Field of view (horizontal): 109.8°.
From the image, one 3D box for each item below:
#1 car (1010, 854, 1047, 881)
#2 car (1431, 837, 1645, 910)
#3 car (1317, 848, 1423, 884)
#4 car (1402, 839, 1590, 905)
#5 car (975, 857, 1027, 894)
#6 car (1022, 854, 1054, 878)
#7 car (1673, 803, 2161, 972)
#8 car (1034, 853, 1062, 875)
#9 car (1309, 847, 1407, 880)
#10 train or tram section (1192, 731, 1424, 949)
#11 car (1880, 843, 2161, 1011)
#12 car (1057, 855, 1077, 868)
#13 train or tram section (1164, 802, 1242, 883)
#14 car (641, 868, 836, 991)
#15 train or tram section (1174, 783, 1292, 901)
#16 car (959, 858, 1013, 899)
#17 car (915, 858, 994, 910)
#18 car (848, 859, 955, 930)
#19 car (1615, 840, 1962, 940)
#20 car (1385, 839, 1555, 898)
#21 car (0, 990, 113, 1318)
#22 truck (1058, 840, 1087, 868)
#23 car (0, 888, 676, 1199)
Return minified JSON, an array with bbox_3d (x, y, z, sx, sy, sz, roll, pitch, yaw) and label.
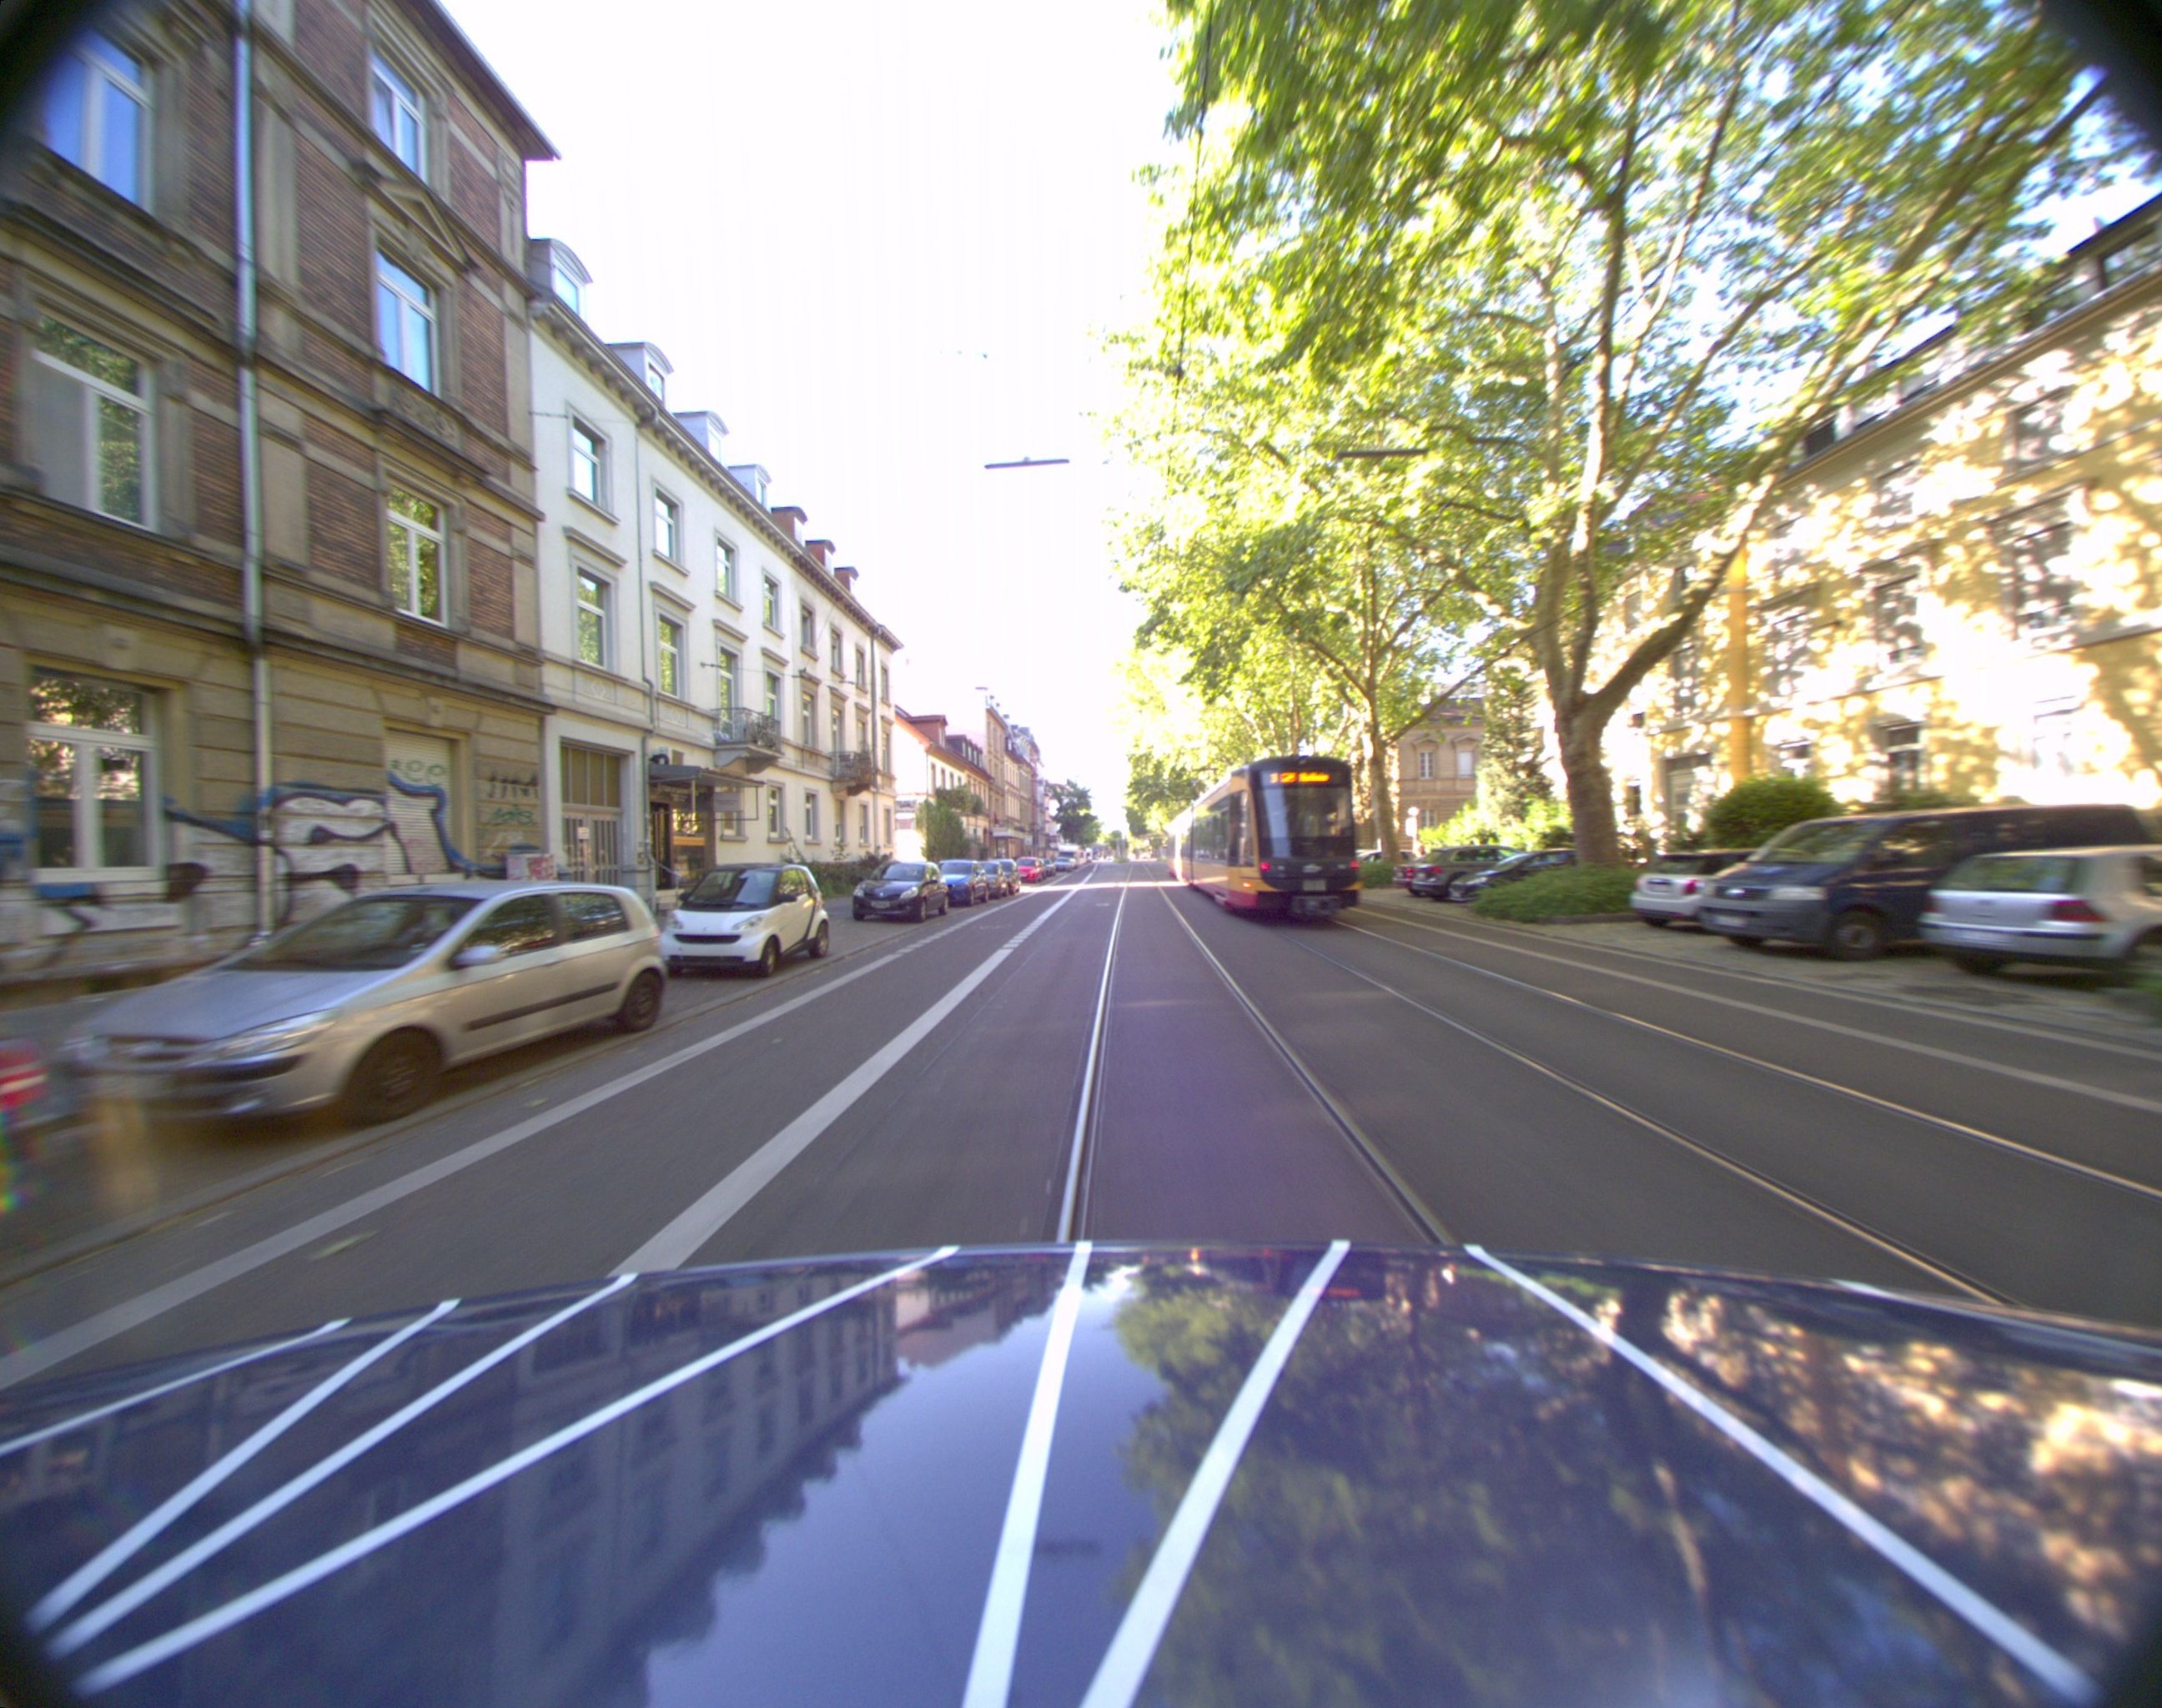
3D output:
[{"bbox_3d":[-3.151,0.804,46.286,1.702,1.559,3.687,0,1,4],"label":"car"},{"bbox_3d":[11.931,0.504,20.101,4.365,1.603,2.001,-3,0,3],"label":"car"},{"bbox_3d":[12.535,0.495,33.070,3.997,1.422,1.528,-2,1,0],"label":"car"},{"bbox_3d":[12.092,0.514,22.390,4.365,1.603,2.001,-3,0,3],"label":"car"},{"bbox_3d":[-3.589,0.932,34.711,1.729,1.559,3.687,0,1,4],"label":"car"},{"bbox_3d":[-2.910,0.770,51.619,1.702,1.559,3.687,0,1,4],"label":"car"},{"bbox_3d":[11.380,0.436,10.588,4.638,1.896,1.922,-3,0,2],"label":"car"},{"bbox_3d":[-2.507,0.738,57.892,1.702,1.559,3.687,0,1,4],"label":"car"},{"bbox_3d":[12.914,0.431,35.539,3.997,1.422,1.601,-2,1,0],"label":"car"},{"bbox_3d":[4.721,-0.310,18.648,2.943,3.598,11.064,-3,1,4],"label":"train or tram section"},{"bbox_3d":[11.491,0.646,7.971,4.067,1.437,1.870,-3,0,3],"label":"car"},{"bbox_3d":[-1.397,0.729,76.294,1.702,1.324,3.687,0,0,4],"label":"car"},{"bbox_3d":[6.359,-0.633,41.613,2.943,3.598,12.412,-3,1,4],"label":"train or tram section"},{"bbox_3d":[-4.948,1.010,11.365,1.514,1.534,2.821,0,1,3],"label":"car"},{"bbox_3d":[5.519,-0.468,29.799,2.943,3.598,11.260,-3,1,4],"label":"train or tram section"},{"bbox_3d":[-3.781,0.952,30.775,1.542,1.497,3.359,0,1,4],"label":"car"},{"bbox_3d":[-4.220,0.962,25.879,1.729,1.497,3.908,3,1,4],"label":"car"},{"bbox_3d":[-4.485,0.958,19.559,1.634,1.497,3.907,3,1,2],"label":"car"},{"bbox_3d":[12.212,0.605,13.342,4.365,1.399,1.658,-3,0,3],"label":"car"},{"bbox_3d":[12.416,0.464,24.500,4.365,1.603,2.001,-3,0,3],"label":"car"},{"bbox_3d":[-5.288,1.264,1.599,1.653,1.265,3.725,0,1,2],"label":"car"},{"bbox_3d":[-0.955,-0.041,90.840,2.842,3.145,7.293,-3,1,2],"label":"truck"},{"bbox_3d":[-5.101,1.103,5.980,1.609,1.444,3.742,1,1,4],"label":"car"}]
